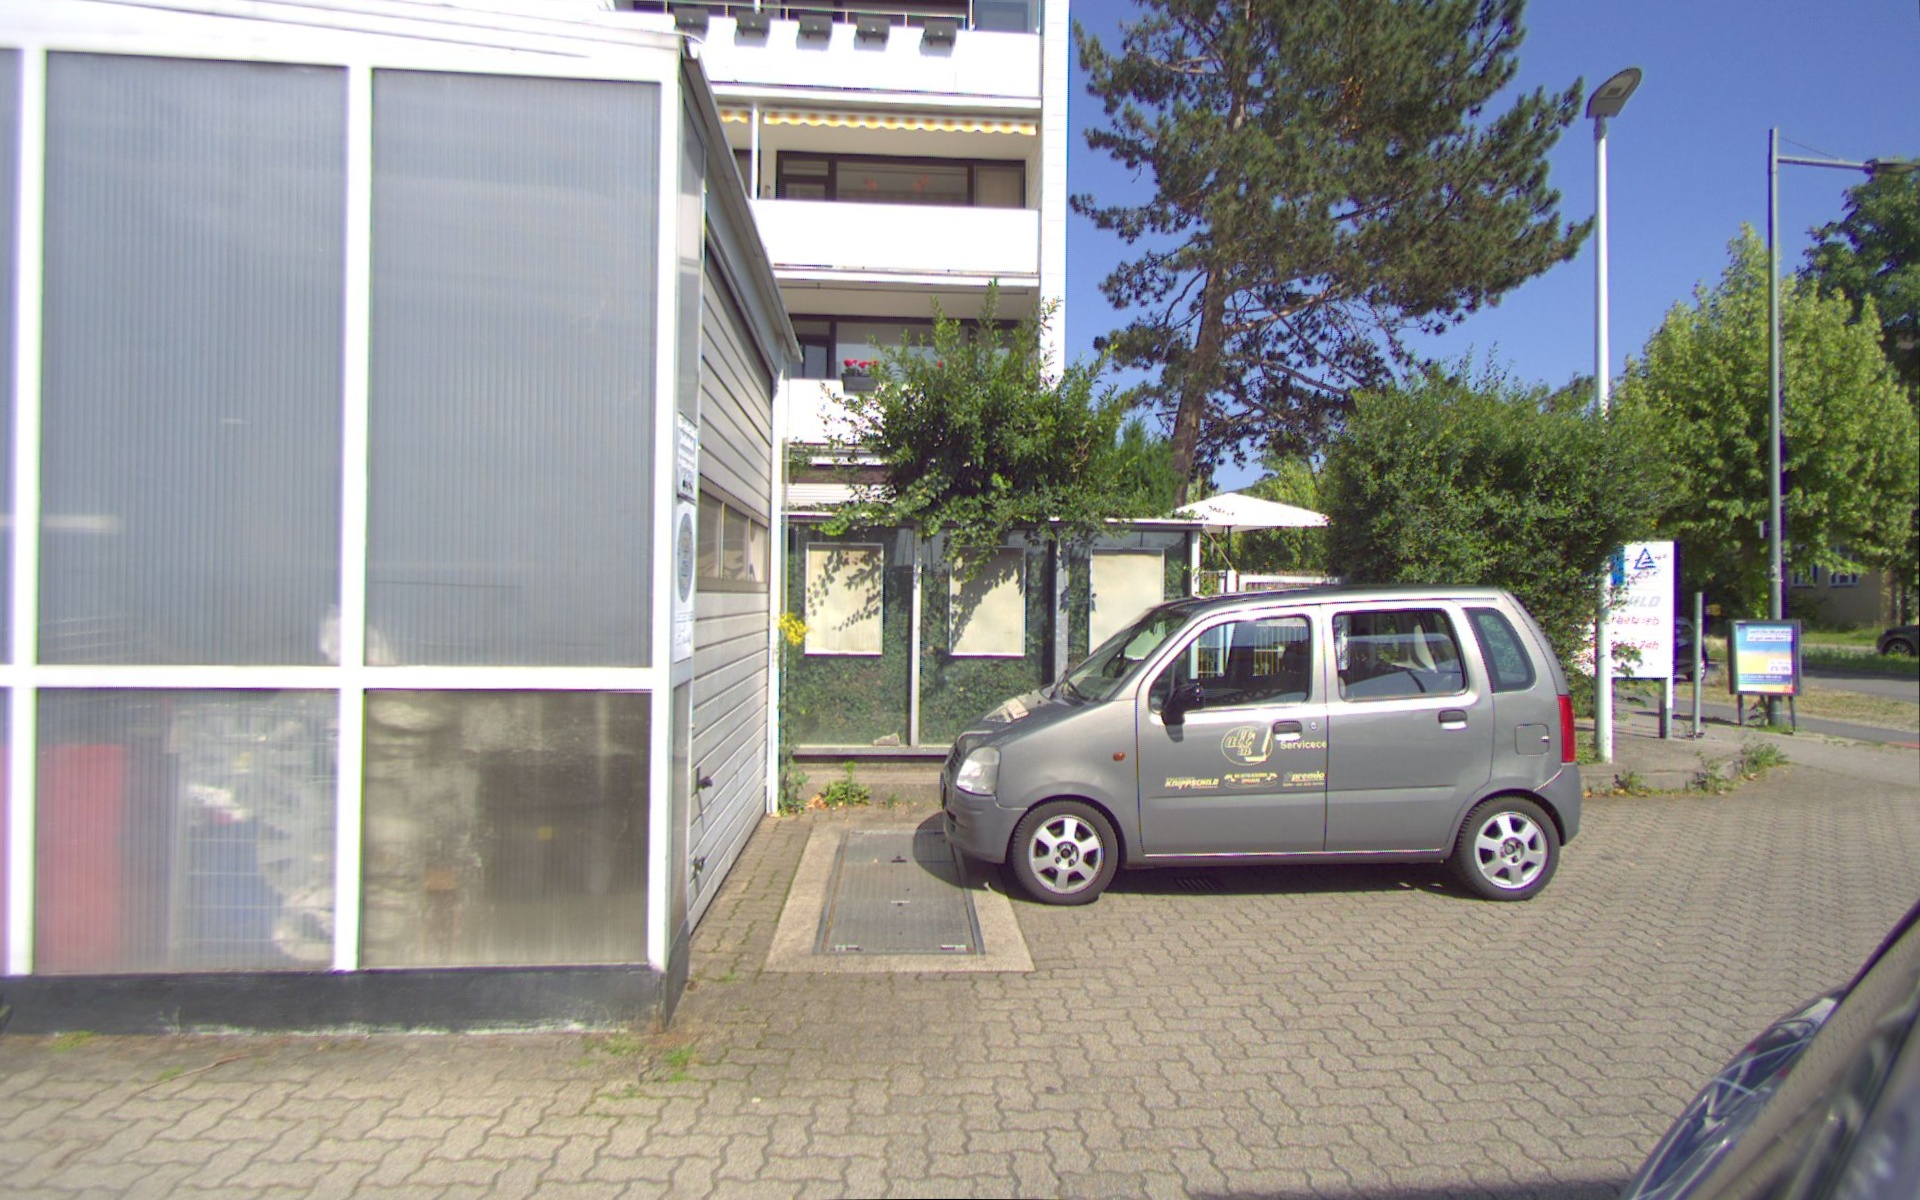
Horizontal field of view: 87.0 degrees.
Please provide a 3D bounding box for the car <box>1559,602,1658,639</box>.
[{"bbox_3d":[28.811,0.907,44.991,3.648,1.408,1.885,3,0,-22],"label":"car"}]

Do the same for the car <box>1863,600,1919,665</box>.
[{"bbox_3d":[25.435,0.879,24.371,1.960,1.631,5.664,3,0,-5],"label":"car"}]

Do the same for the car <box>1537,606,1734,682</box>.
[{"bbox_3d":[14.516,0.941,21.705,4.141,1.435,1.883,3,0,-30],"label":"car"}]

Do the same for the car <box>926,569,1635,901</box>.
[{"bbox_3d":[1.608,0.673,5.969,3.592,1.637,1.693,-1,0,-1],"label":"car"}]
